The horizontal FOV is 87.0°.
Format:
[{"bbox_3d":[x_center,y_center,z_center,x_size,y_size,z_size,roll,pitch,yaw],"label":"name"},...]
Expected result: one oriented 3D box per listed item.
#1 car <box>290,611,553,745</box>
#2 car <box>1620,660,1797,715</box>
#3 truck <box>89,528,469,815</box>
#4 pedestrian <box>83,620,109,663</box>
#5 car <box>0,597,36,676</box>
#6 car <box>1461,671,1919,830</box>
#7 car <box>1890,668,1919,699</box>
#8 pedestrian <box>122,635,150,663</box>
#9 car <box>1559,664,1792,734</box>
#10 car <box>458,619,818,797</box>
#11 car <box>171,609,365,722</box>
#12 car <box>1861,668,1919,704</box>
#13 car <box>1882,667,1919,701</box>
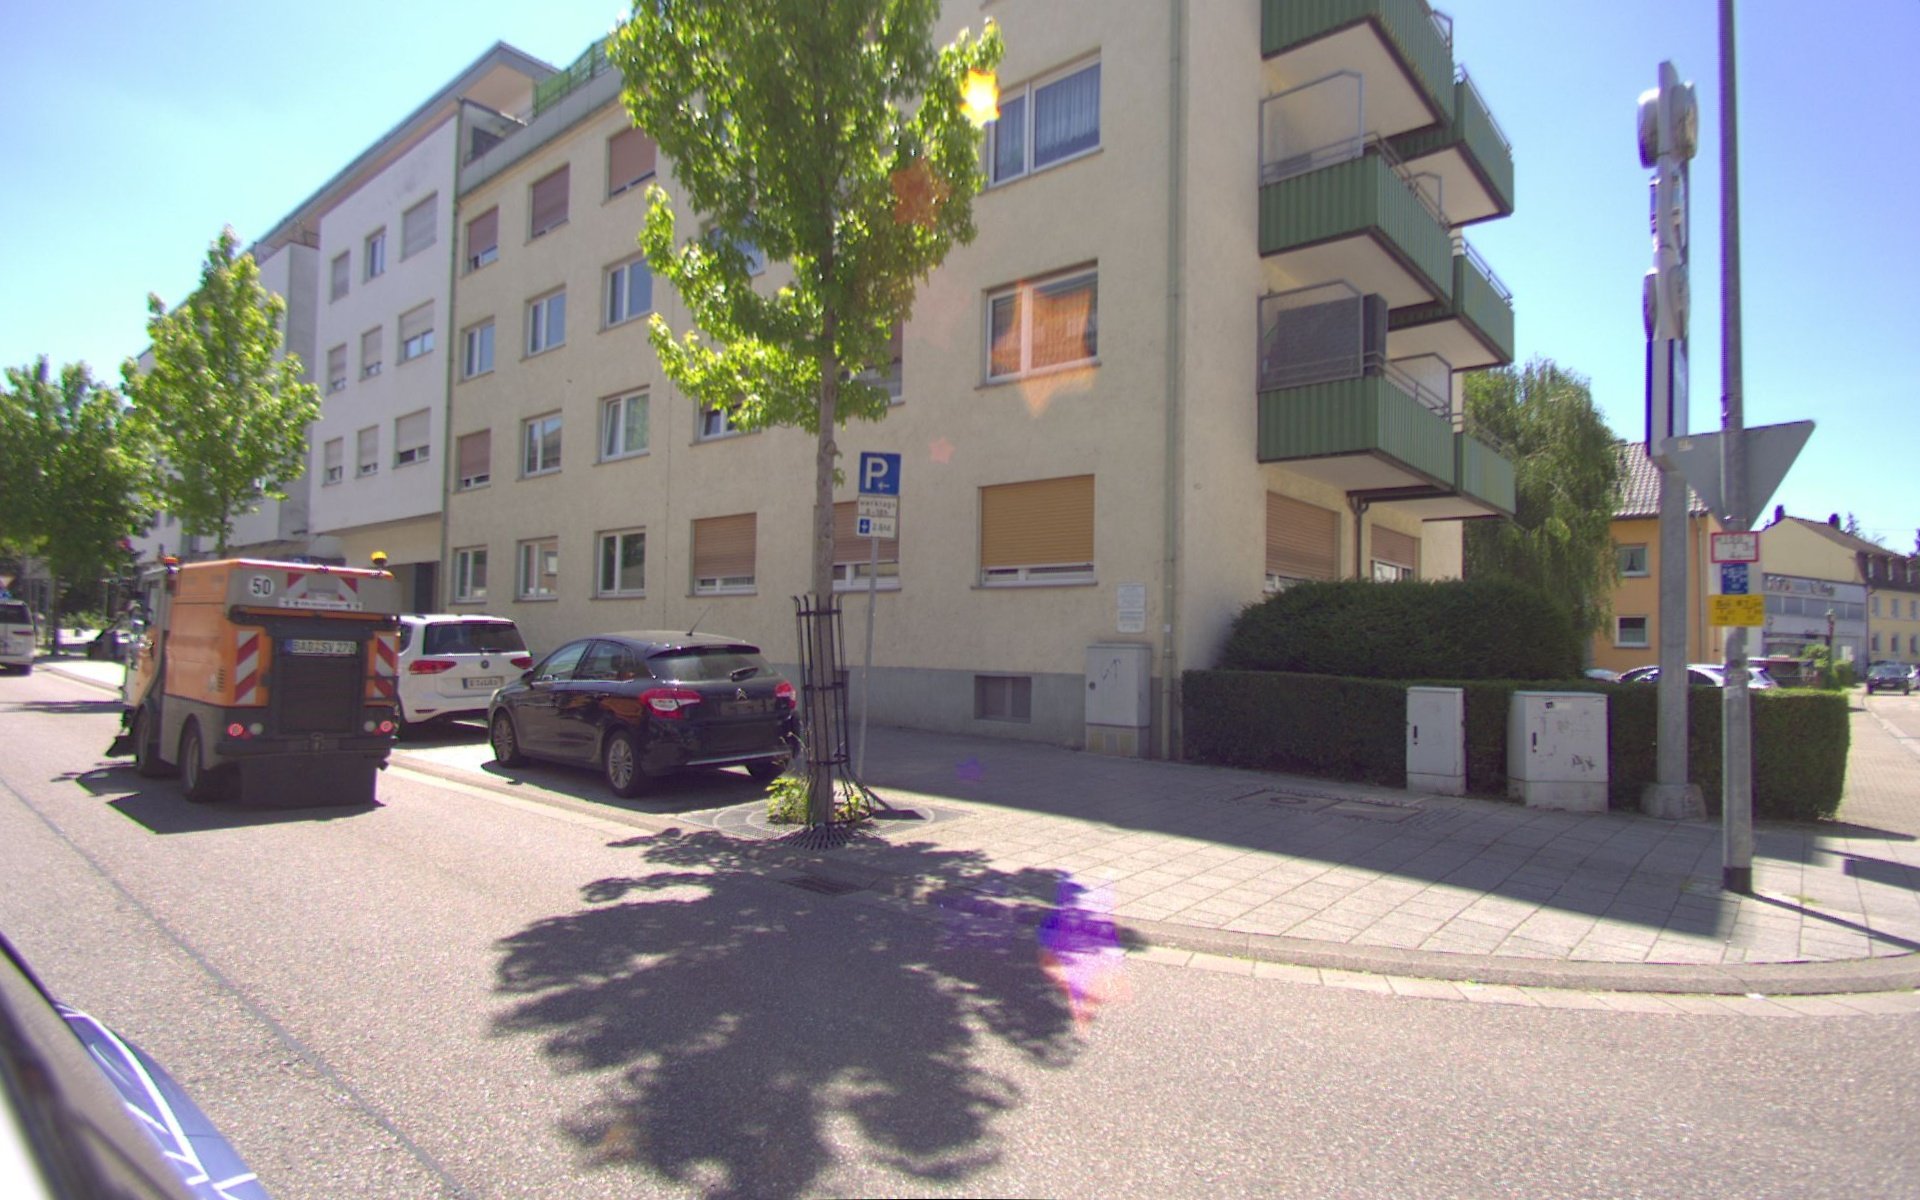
[{"bbox_3d":[-7.806,1.008,14.495,4.388,1.632,1.806,-1,-2,40],"label":"car"},{"bbox_3d":[21.901,2.549,29.697,3.998,1.512,1.973,-4,-6,41],"label":"car"},{"bbox_3d":[-6.725,0.626,9.771,4.712,2.134,1.786,-1,-5,41],"label":"truck"},{"bbox_3d":[-28.195,1.356,33.022,0.560,1.382,0.668,4,-3,-40],"label":"pedestrian"},{"bbox_3d":[-25.726,0.899,26.319,4.903,1.937,1.887,-1,-4,41],"label":"car"},{"bbox_3d":[8.273,1.606,11.757,3.998,1.512,1.973,-4,-6,41],"label":"car"},{"bbox_3d":[57.450,5.009,60.667,3.937,1.830,1.988,5,-6,-41],"label":"car"},{"bbox_3d":[-27.012,1.608,33.178,0.656,0.864,0.734,4,0,-40],"label":"pedestrian"},{"bbox_3d":[16.868,2.310,23.980,4.294,1.512,1.973,-4,-6,41],"label":"car"},{"bbox_3d":[-3.536,0.950,10.653,4.322,1.485,1.735,-1,-2,43],"label":"car"},{"bbox_3d":[-12.303,1.054,17.897,4.388,1.754,1.711,-1,0,40],"label":"car"},{"bbox_3d":[49.765,4.587,54.004,3.937,1.830,1.988,5,-6,-41],"label":"car"},{"bbox_3d":[54.020,4.786,57.422,3.937,1.830,1.988,5,-6,-41],"label":"car"}]
